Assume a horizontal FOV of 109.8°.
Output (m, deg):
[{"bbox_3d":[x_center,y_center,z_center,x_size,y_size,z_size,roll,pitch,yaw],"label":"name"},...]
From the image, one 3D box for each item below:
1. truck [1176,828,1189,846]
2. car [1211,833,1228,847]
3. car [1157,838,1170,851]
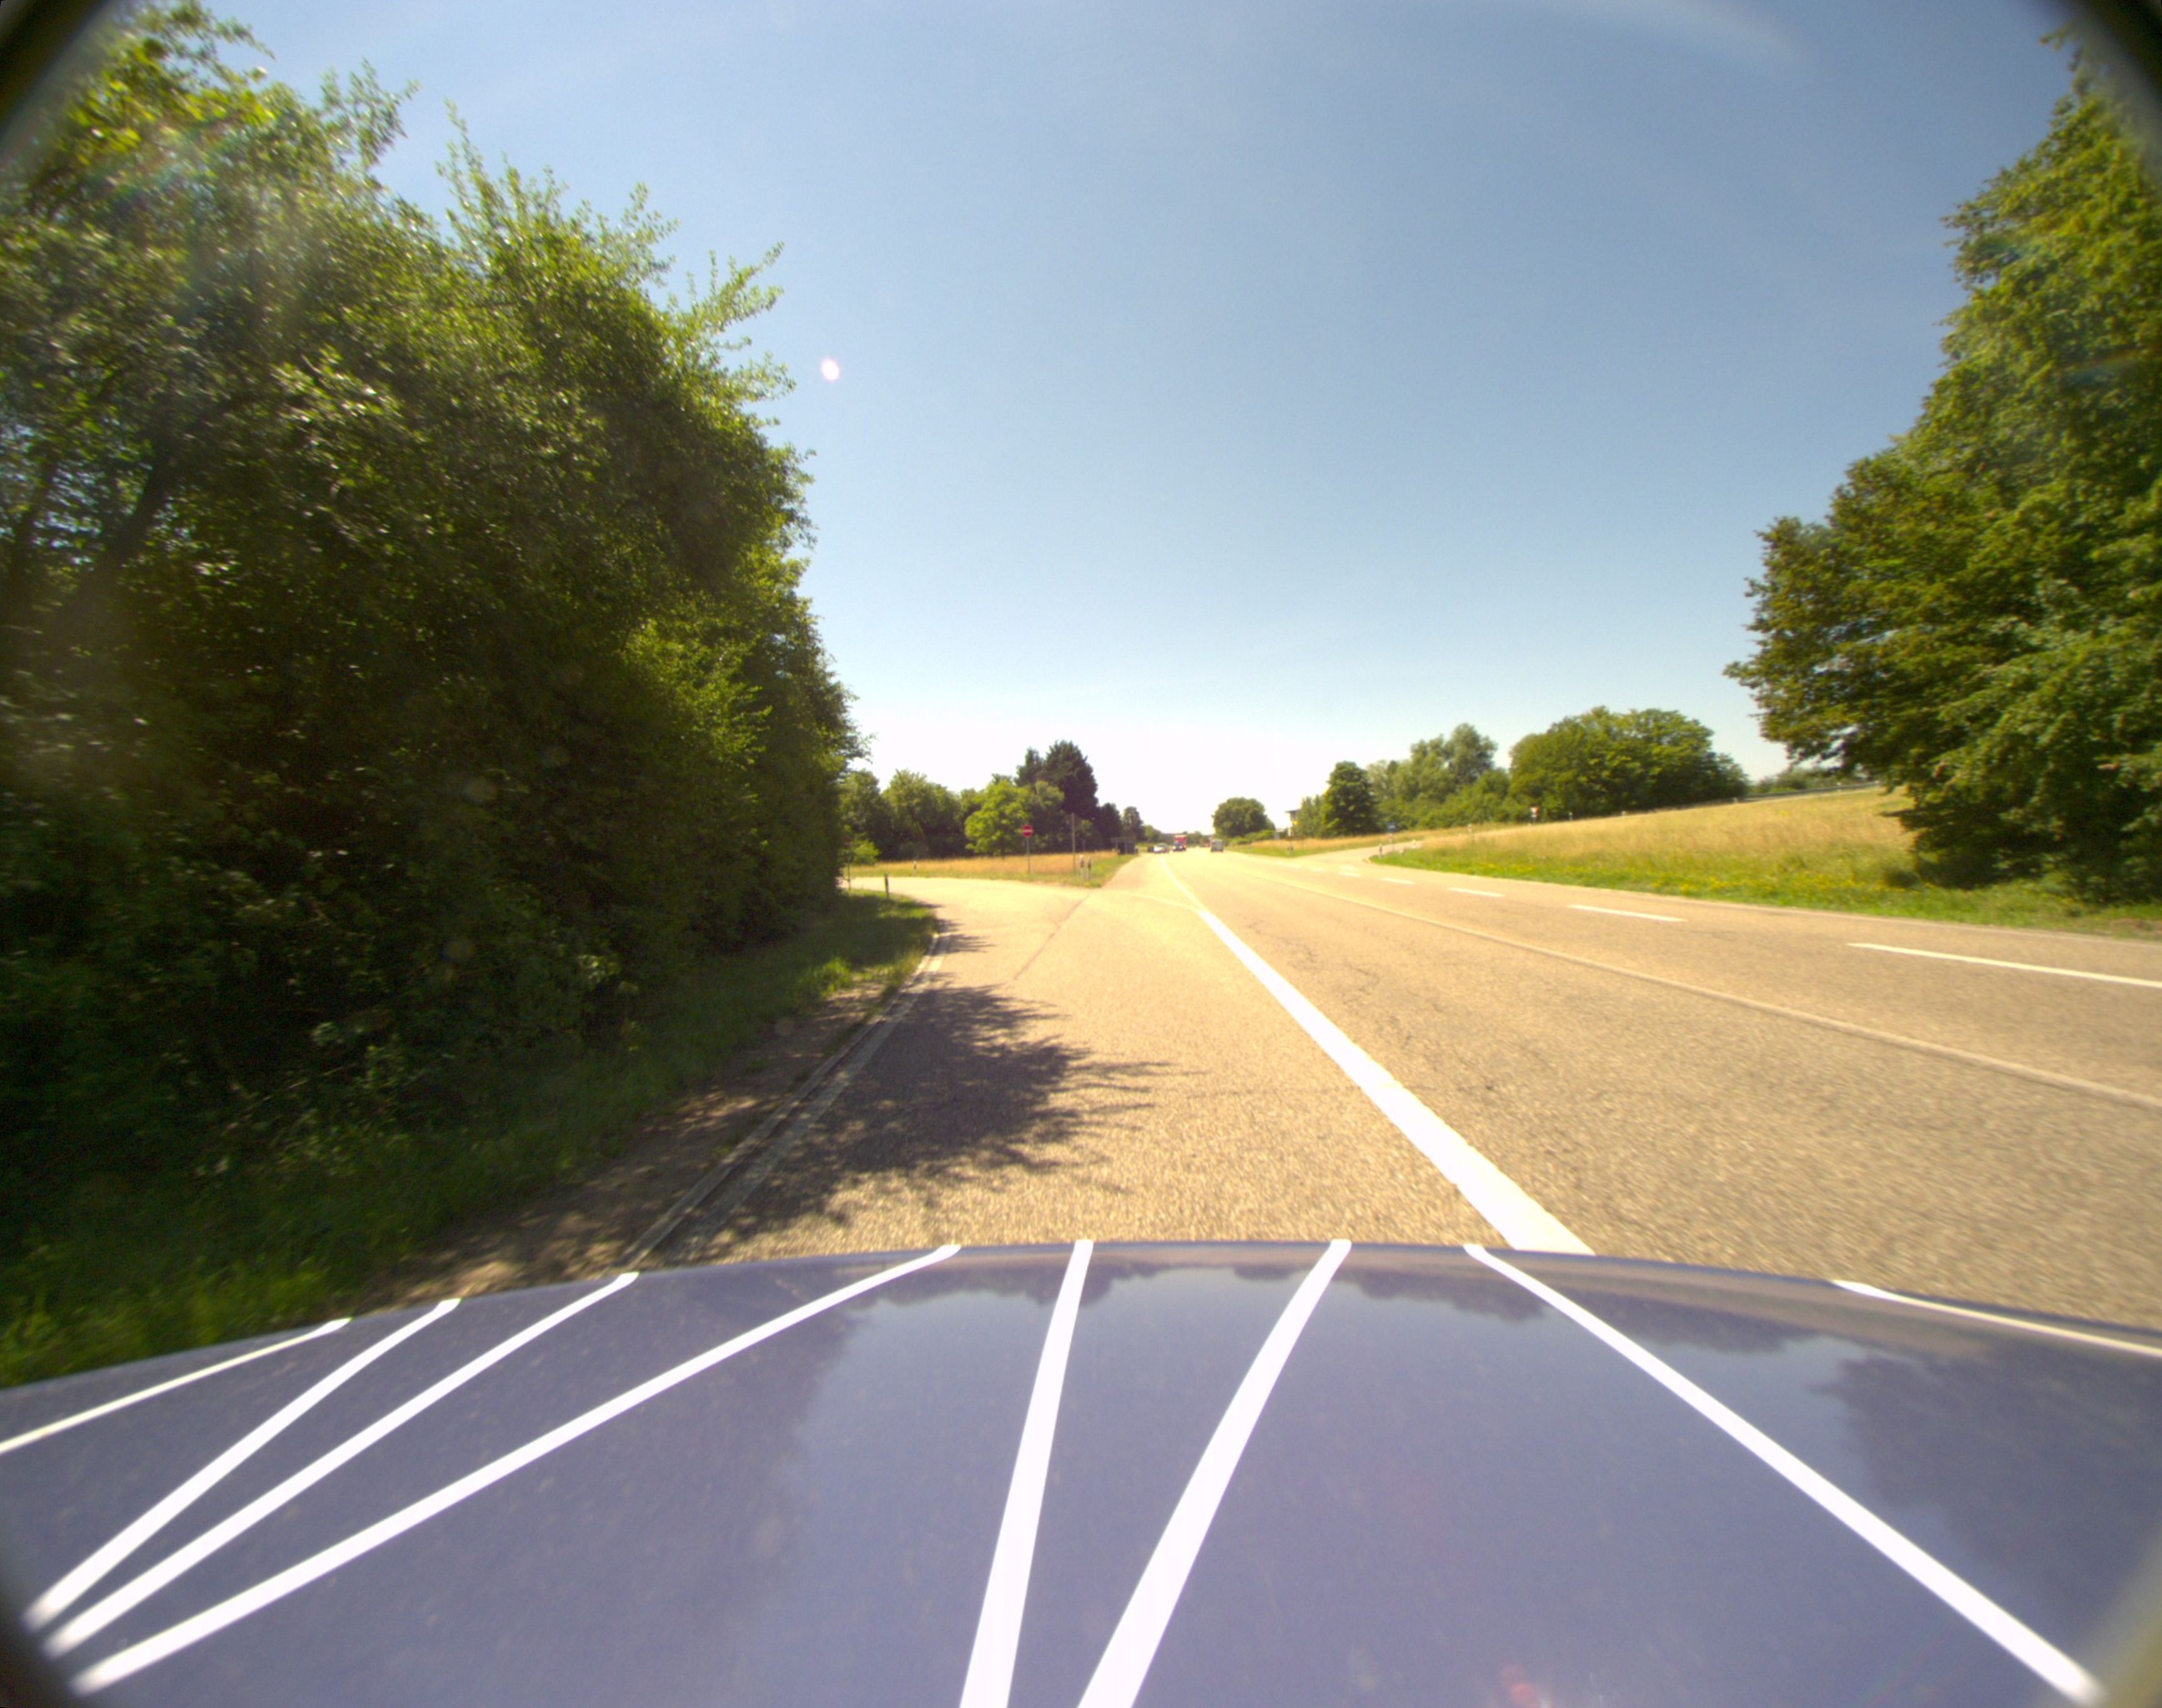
[{"bbox_3d":[20.509,-3.401,153.321,1.997,3.158,7.010,-3,-1,10],"label":"truck"},{"bbox_3d":[21.340,-2.134,117.236,1.913,1.949,5.396,-3,-1,4],"label":"car"},{"bbox_3d":[13.435,-1.566,123.403,1.912,1.949,4.459,-3,-1,8],"label":"car"}]
